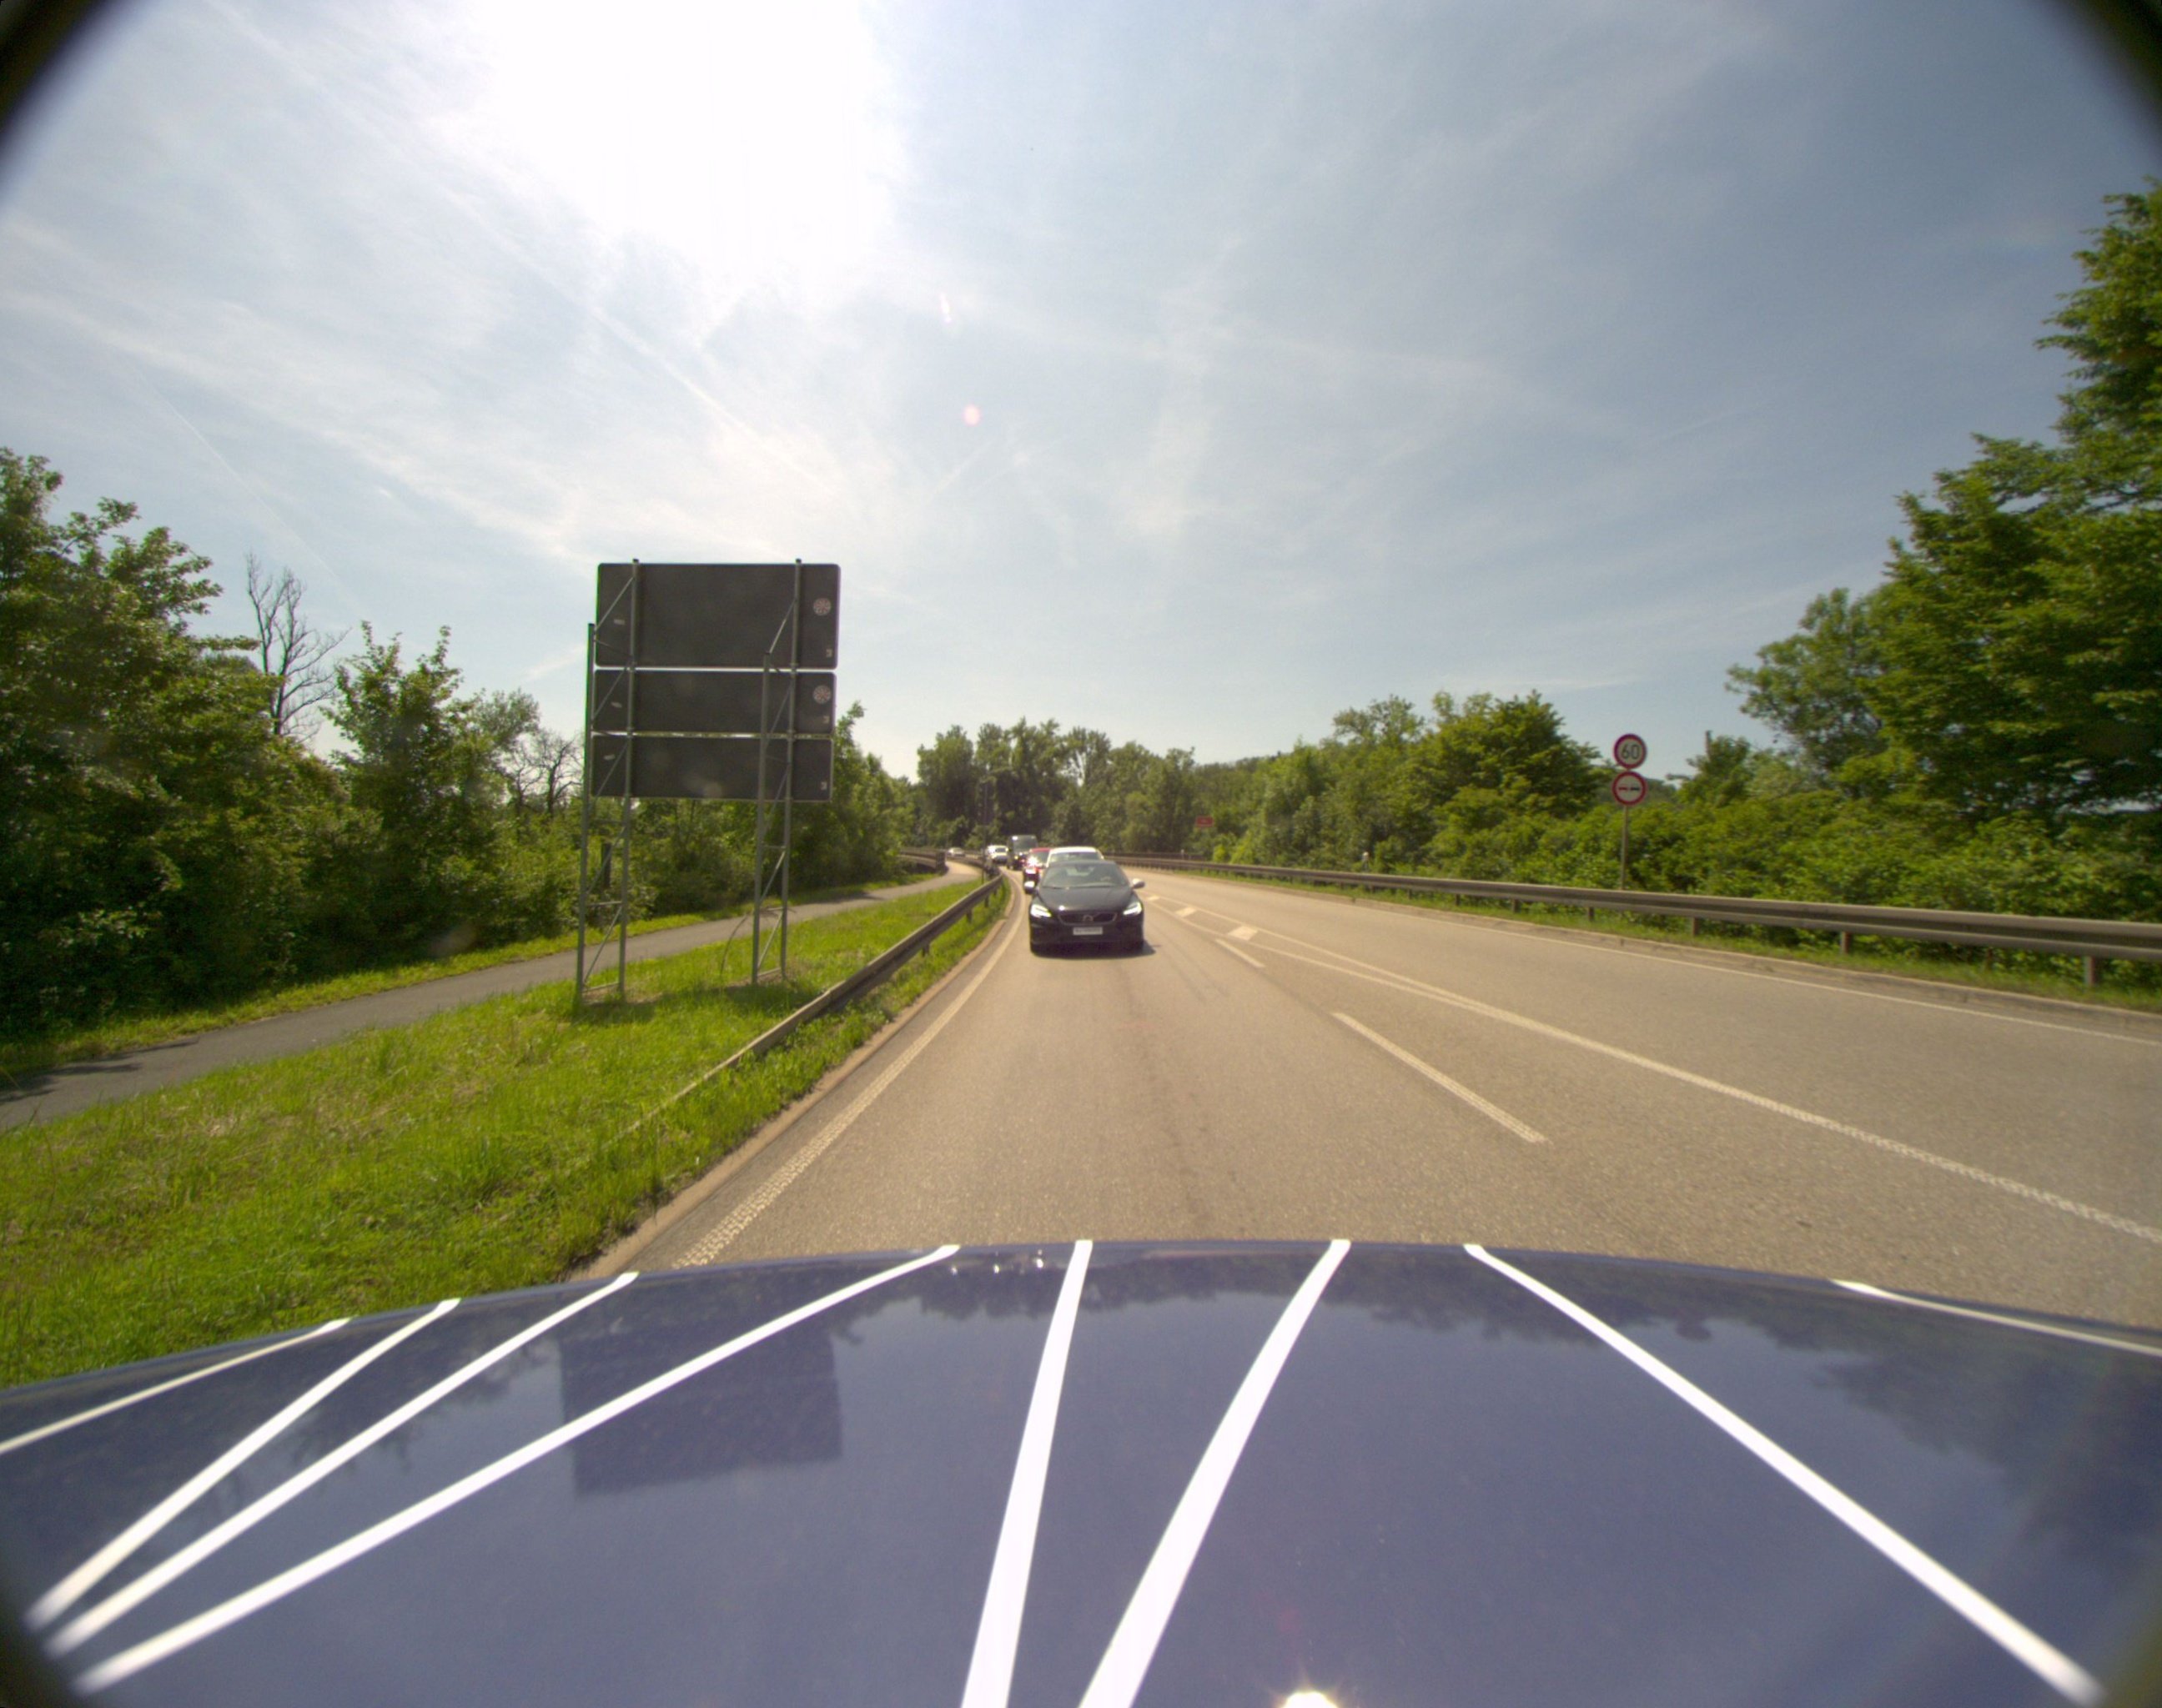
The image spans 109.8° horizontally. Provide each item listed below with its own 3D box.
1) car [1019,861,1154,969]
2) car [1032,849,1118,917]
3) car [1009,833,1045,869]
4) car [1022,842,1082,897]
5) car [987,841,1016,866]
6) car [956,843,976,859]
[{"bbox_3d":[0.051,0.891,12.947,1.909,1.413,3.949,-2,1,-1],"label":"car"},{"bbox_3d":[-0.269,0.684,20.526,1.910,1.638,3.947,0,0,-6],"label":"car"},{"bbox_3d":[-4.015,-0.283,55.472,2.000,2.471,4.853,-2,2,-11],"label":"car"},{"bbox_3d":[-1.174,0.511,28.588,1.999,1.766,3.996,-2,2,-5],"label":"car"},{"bbox_3d":[-7.284,-0.090,69.173,2.001,2.002,4.706,-2,2,-13],"label":"car"},{"bbox_3d":[-15.187,-0.411,100.145,2.001,2.003,3.993,-2,2,-16],"label":"car"}]
